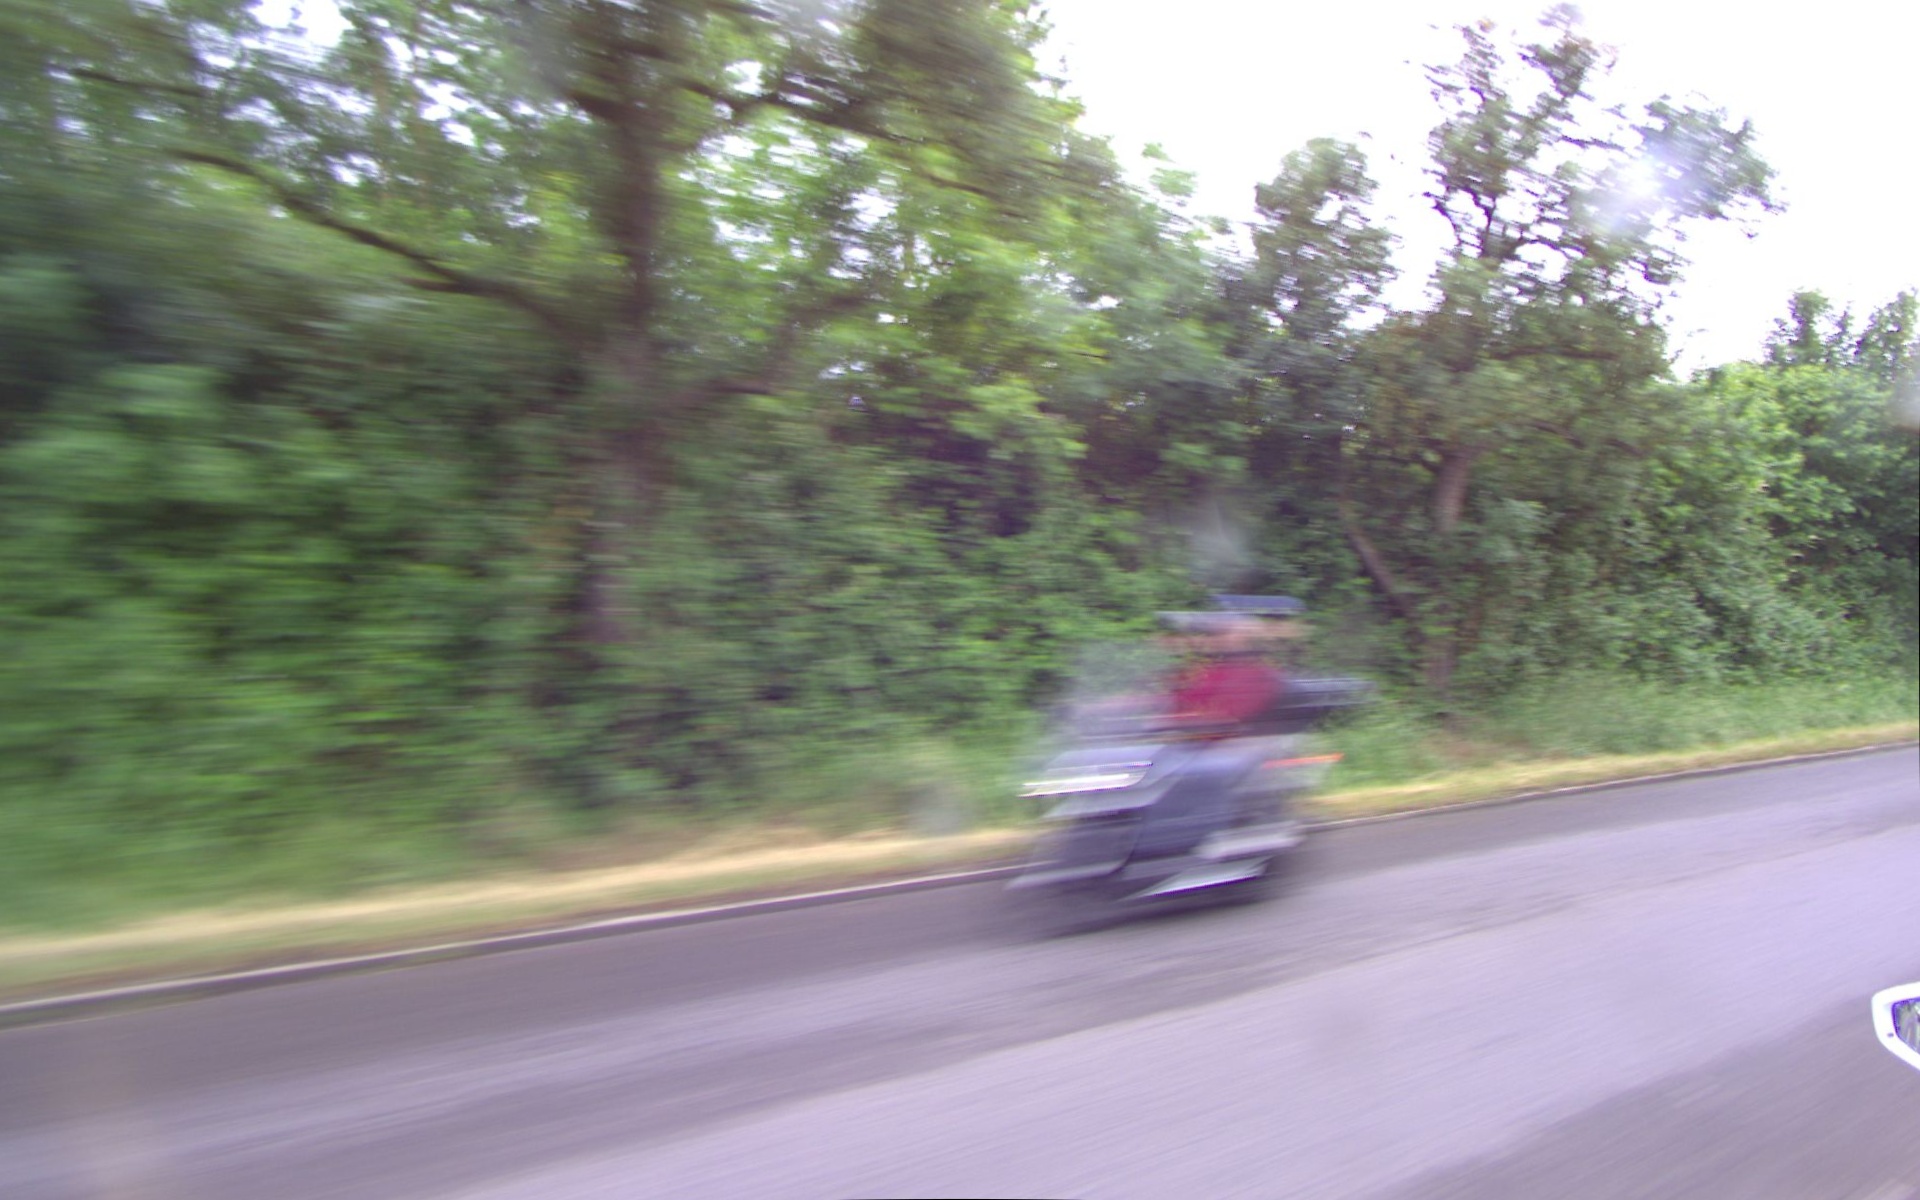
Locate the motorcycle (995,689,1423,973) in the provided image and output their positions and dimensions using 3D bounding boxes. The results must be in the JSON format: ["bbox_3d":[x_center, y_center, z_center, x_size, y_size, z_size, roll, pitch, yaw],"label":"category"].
[{"bbox_3d":[1.412,1.122,5.485,2.368,1.141,0.864,1,-1,-31],"label":"motorcycle"}]

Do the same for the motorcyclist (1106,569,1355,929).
[{"bbox_3d":[1.476,0.736,5.520,1.024,1.745,0.864,1,-1,-31],"label":"motorcyclist"}]
